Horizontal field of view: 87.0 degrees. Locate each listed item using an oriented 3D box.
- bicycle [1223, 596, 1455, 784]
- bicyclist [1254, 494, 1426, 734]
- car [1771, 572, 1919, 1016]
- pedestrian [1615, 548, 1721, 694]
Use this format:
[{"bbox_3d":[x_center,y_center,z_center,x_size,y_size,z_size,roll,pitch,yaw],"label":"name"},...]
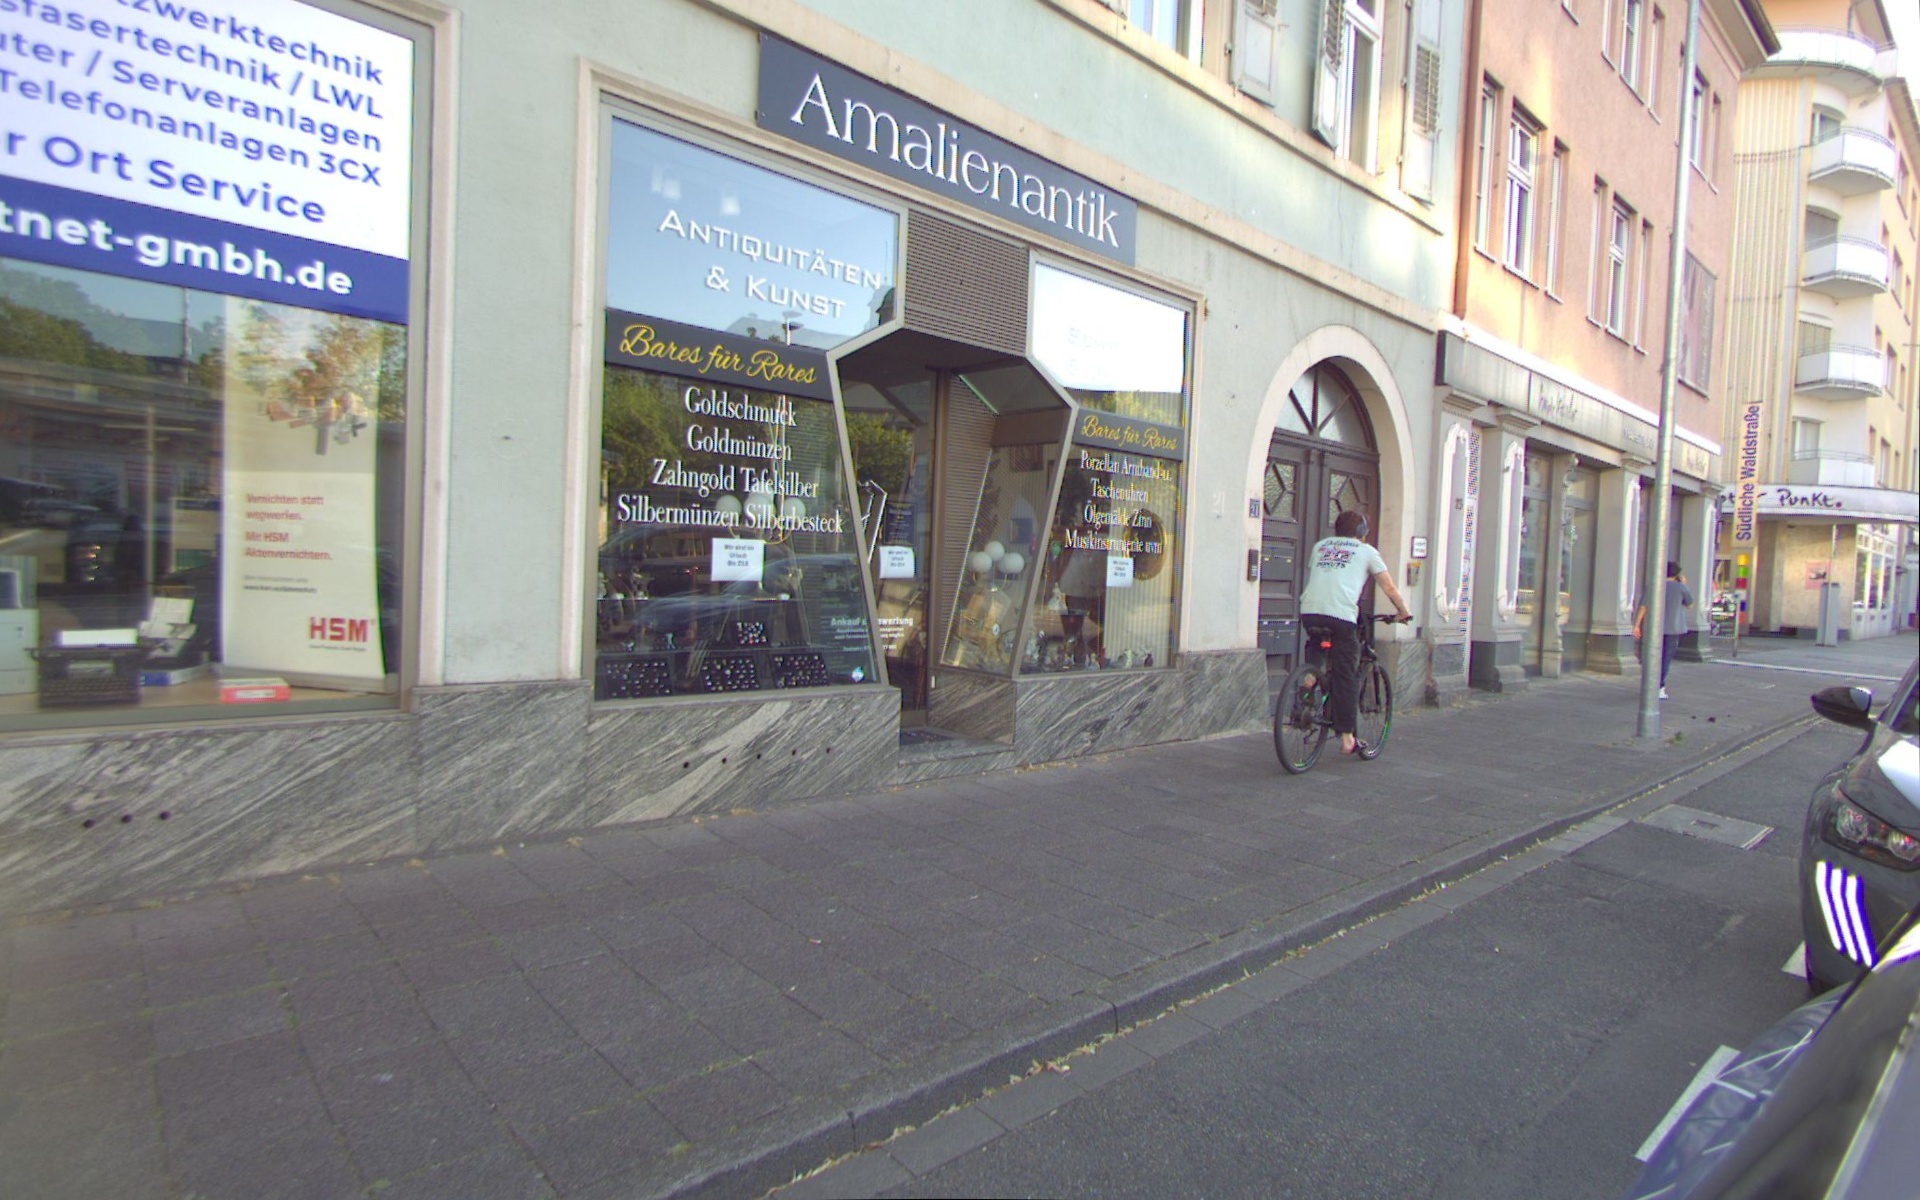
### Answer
[{"bbox_3d":[2.692,0.557,7.083,1.863,1.121,0.691,0,2,-42],"label":"bicycle"},{"bbox_3d":[2.633,0.074,7.009,0.884,1.526,0.723,1,2,-40],"label":"bicyclist"},{"bbox_3d":[5.192,0.672,4.398,4.373,1.464,1.907,0,2,-42],"label":"car"},{"bbox_3d":[8.550,0.228,12.217,0.857,1.662,0.824,0,3,-43],"label":"pedestrian"}]
